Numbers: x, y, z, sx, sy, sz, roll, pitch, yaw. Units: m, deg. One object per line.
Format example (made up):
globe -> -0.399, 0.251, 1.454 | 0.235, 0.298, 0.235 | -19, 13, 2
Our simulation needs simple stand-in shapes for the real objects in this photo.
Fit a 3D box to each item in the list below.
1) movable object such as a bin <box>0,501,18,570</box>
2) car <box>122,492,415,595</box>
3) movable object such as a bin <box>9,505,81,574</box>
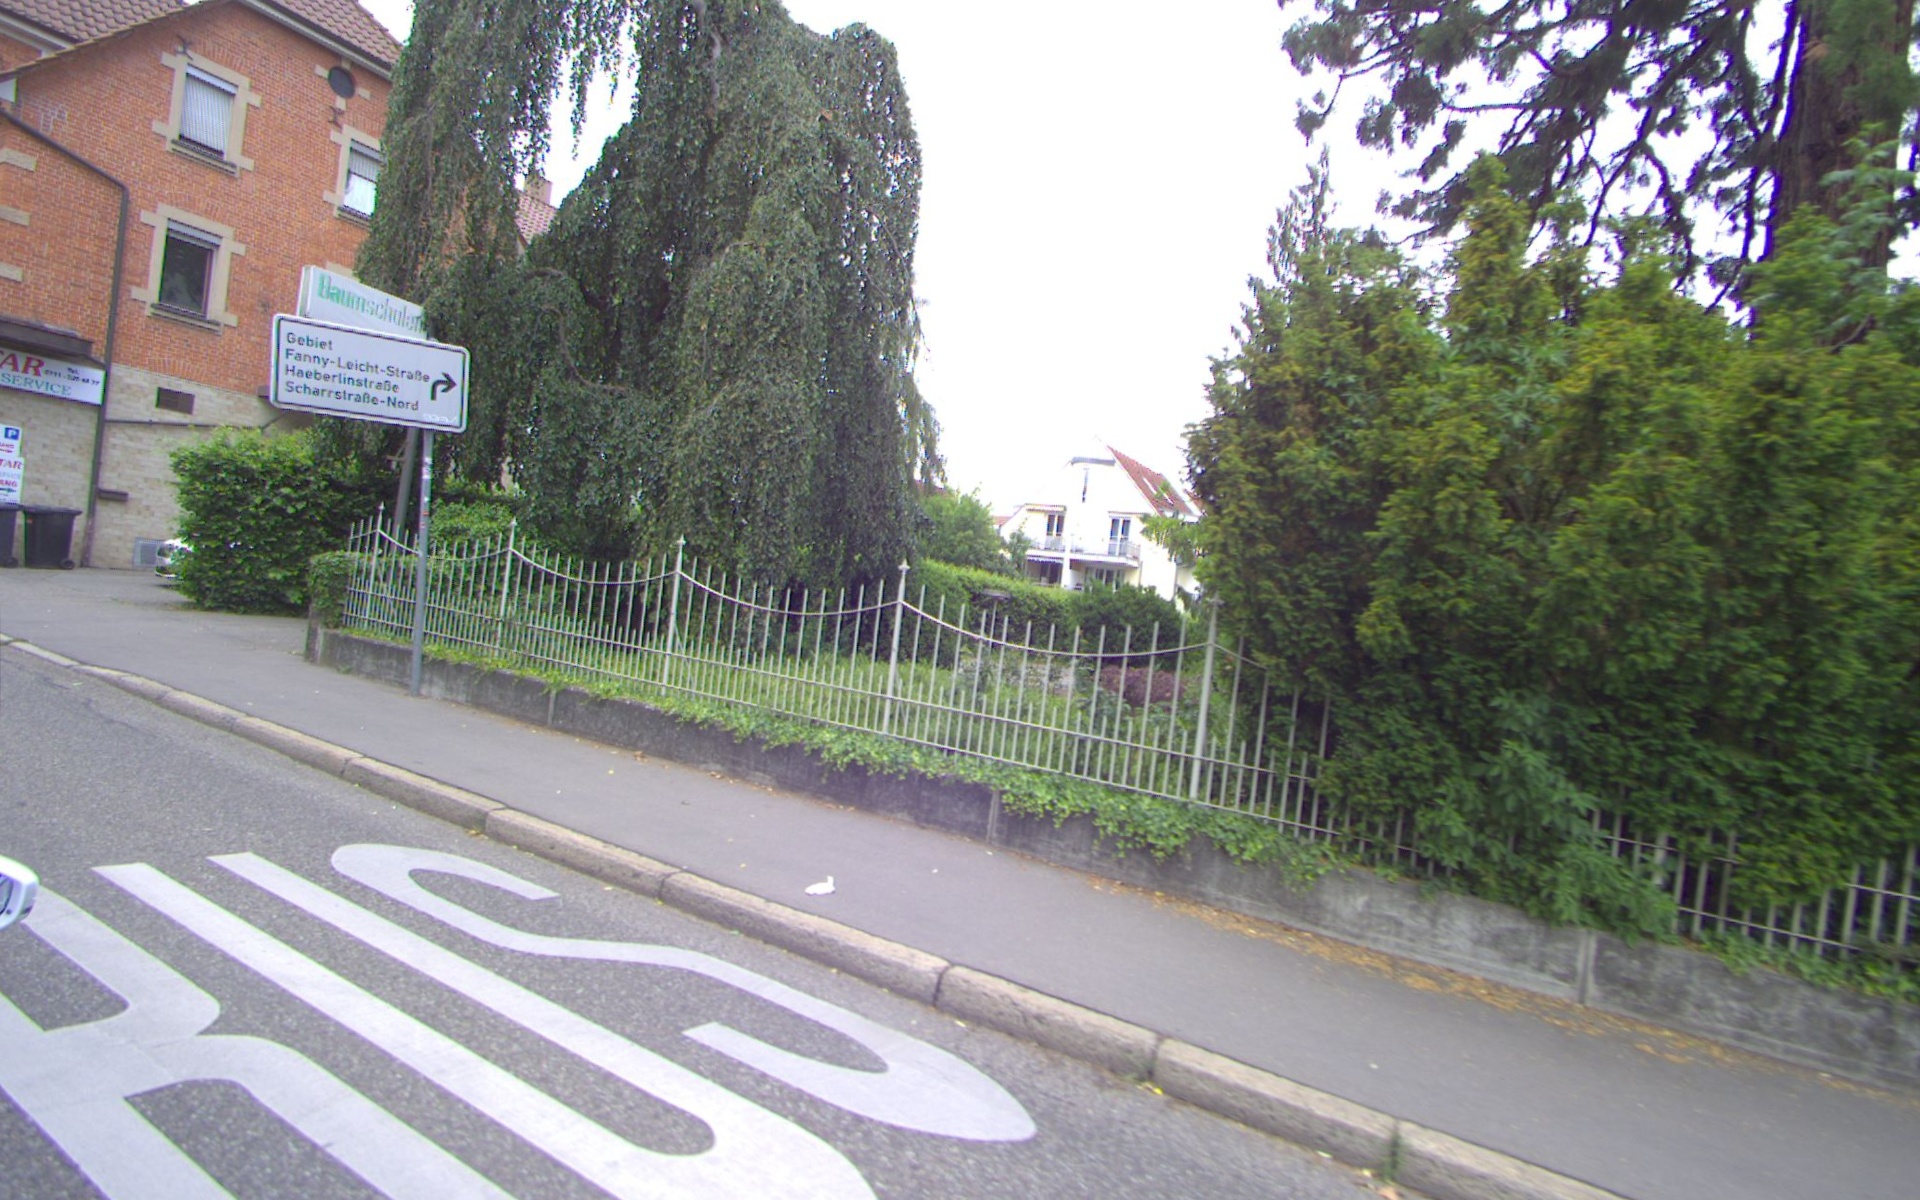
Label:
movable object such as a bin -> -16.010, -1.088, 16.513 | 0.612, 1.115, 0.607 | 7, 2, 32
car -> -12.209, -0.942, 18.051 | 1.574, 1.490, 4.029 | 7, 3, 29
movable object such as a bin -> -15.627, -1.030, 17.185 | 0.711, 1.073, 0.699 | 7, 2, 32
